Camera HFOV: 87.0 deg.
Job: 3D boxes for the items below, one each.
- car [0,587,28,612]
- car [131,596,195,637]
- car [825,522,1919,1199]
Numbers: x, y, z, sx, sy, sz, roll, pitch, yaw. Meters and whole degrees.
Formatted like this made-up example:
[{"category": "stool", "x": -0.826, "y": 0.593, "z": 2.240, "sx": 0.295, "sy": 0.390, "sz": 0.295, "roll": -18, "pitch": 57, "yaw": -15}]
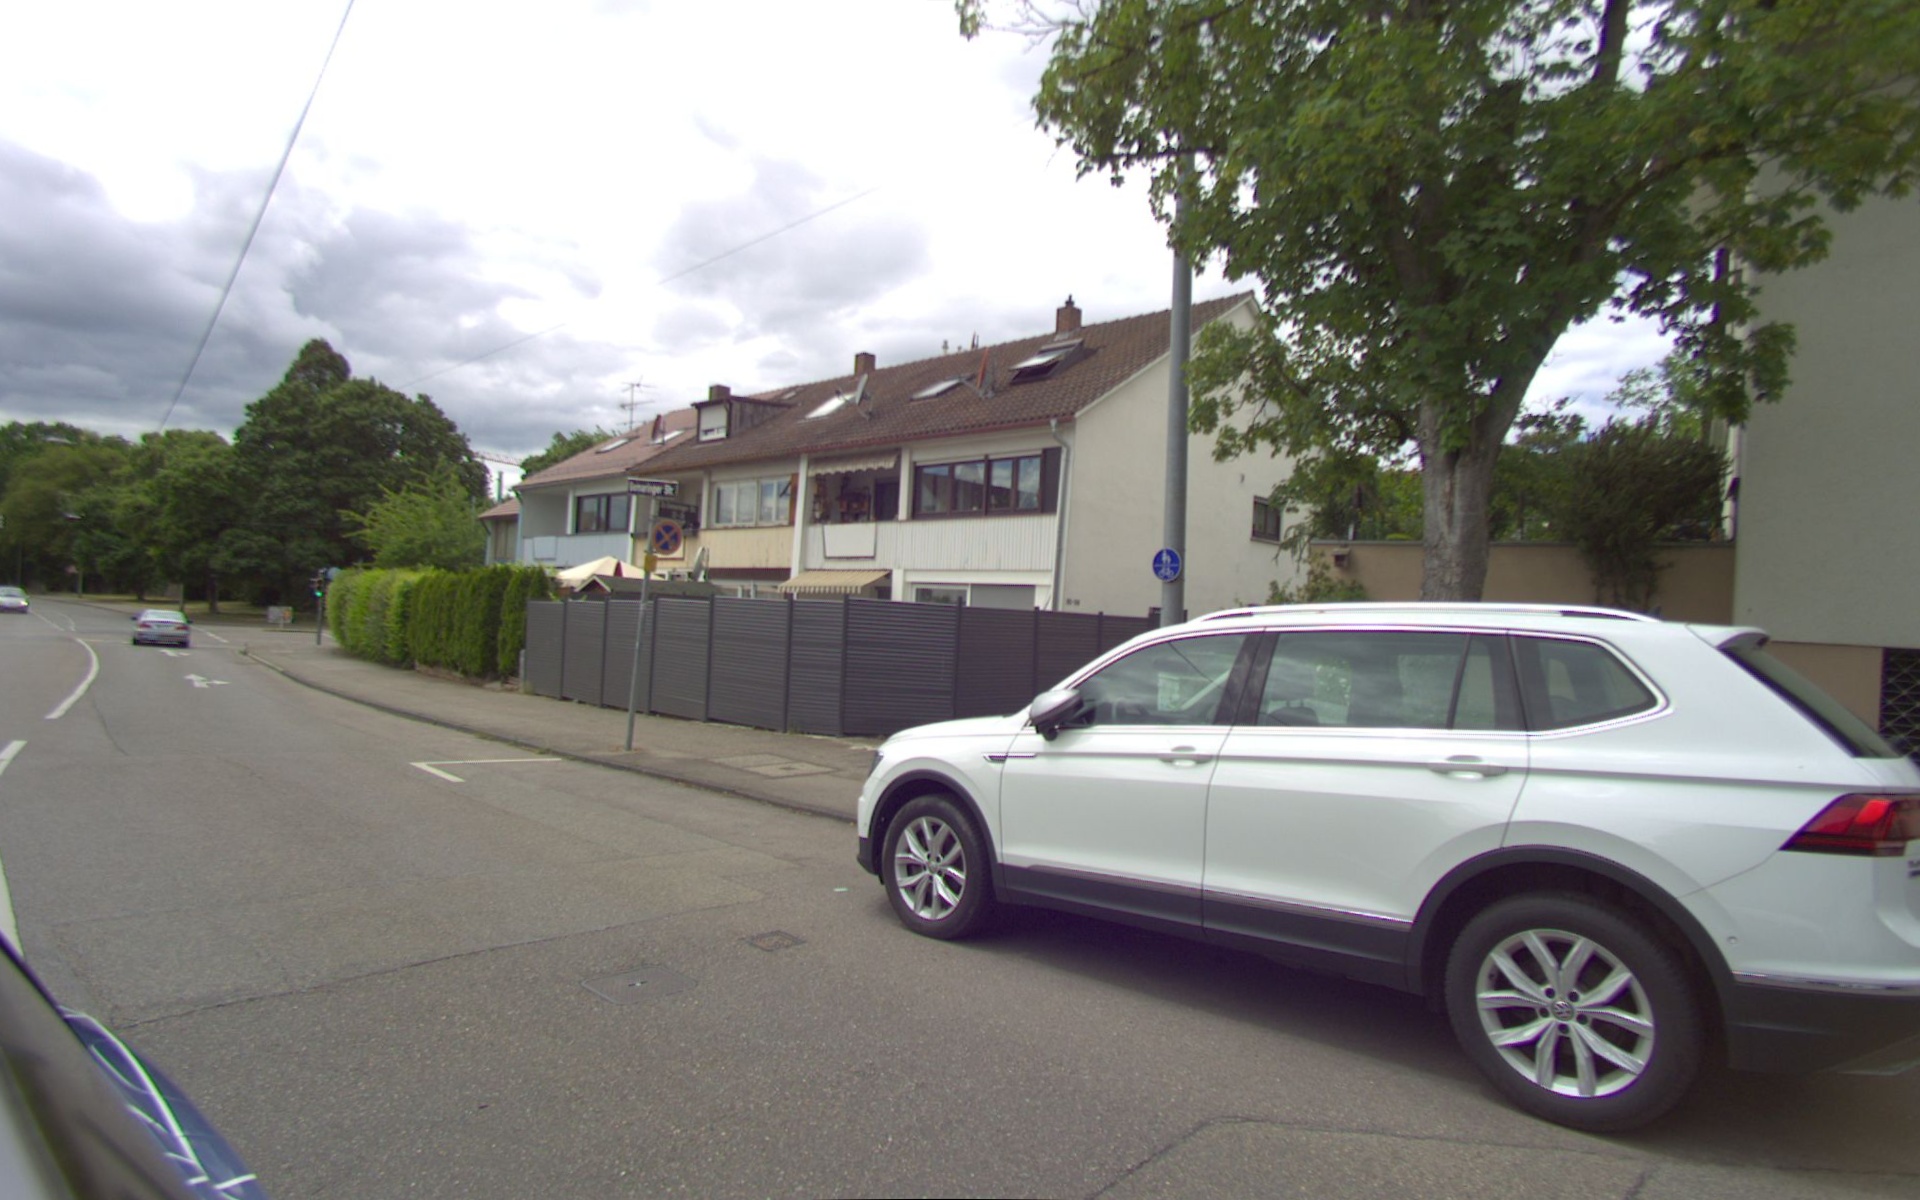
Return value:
[{"category": "car", "x": -60.462, "y": -0.046, "z": 64.018, "sx": 3.555, "sy": 1.530, "sz": 1.757, "roll": 2, "pitch": 1, "yaw": 40}, {"category": "car", "x": -30.894, "y": 0.643, "z": 39.196, "sx": 1.691, "sy": 1.364, "sz": 4.090, "roll": 8, "pitch": -5, "yaw": -40}, {"category": "car", "x": 1.619, "y": 0.718, "z": 4.588, "sx": 4.573, "sy": 1.727, "sz": 1.830, "roll": 0, "pitch": -4, "yaw": 42}]
